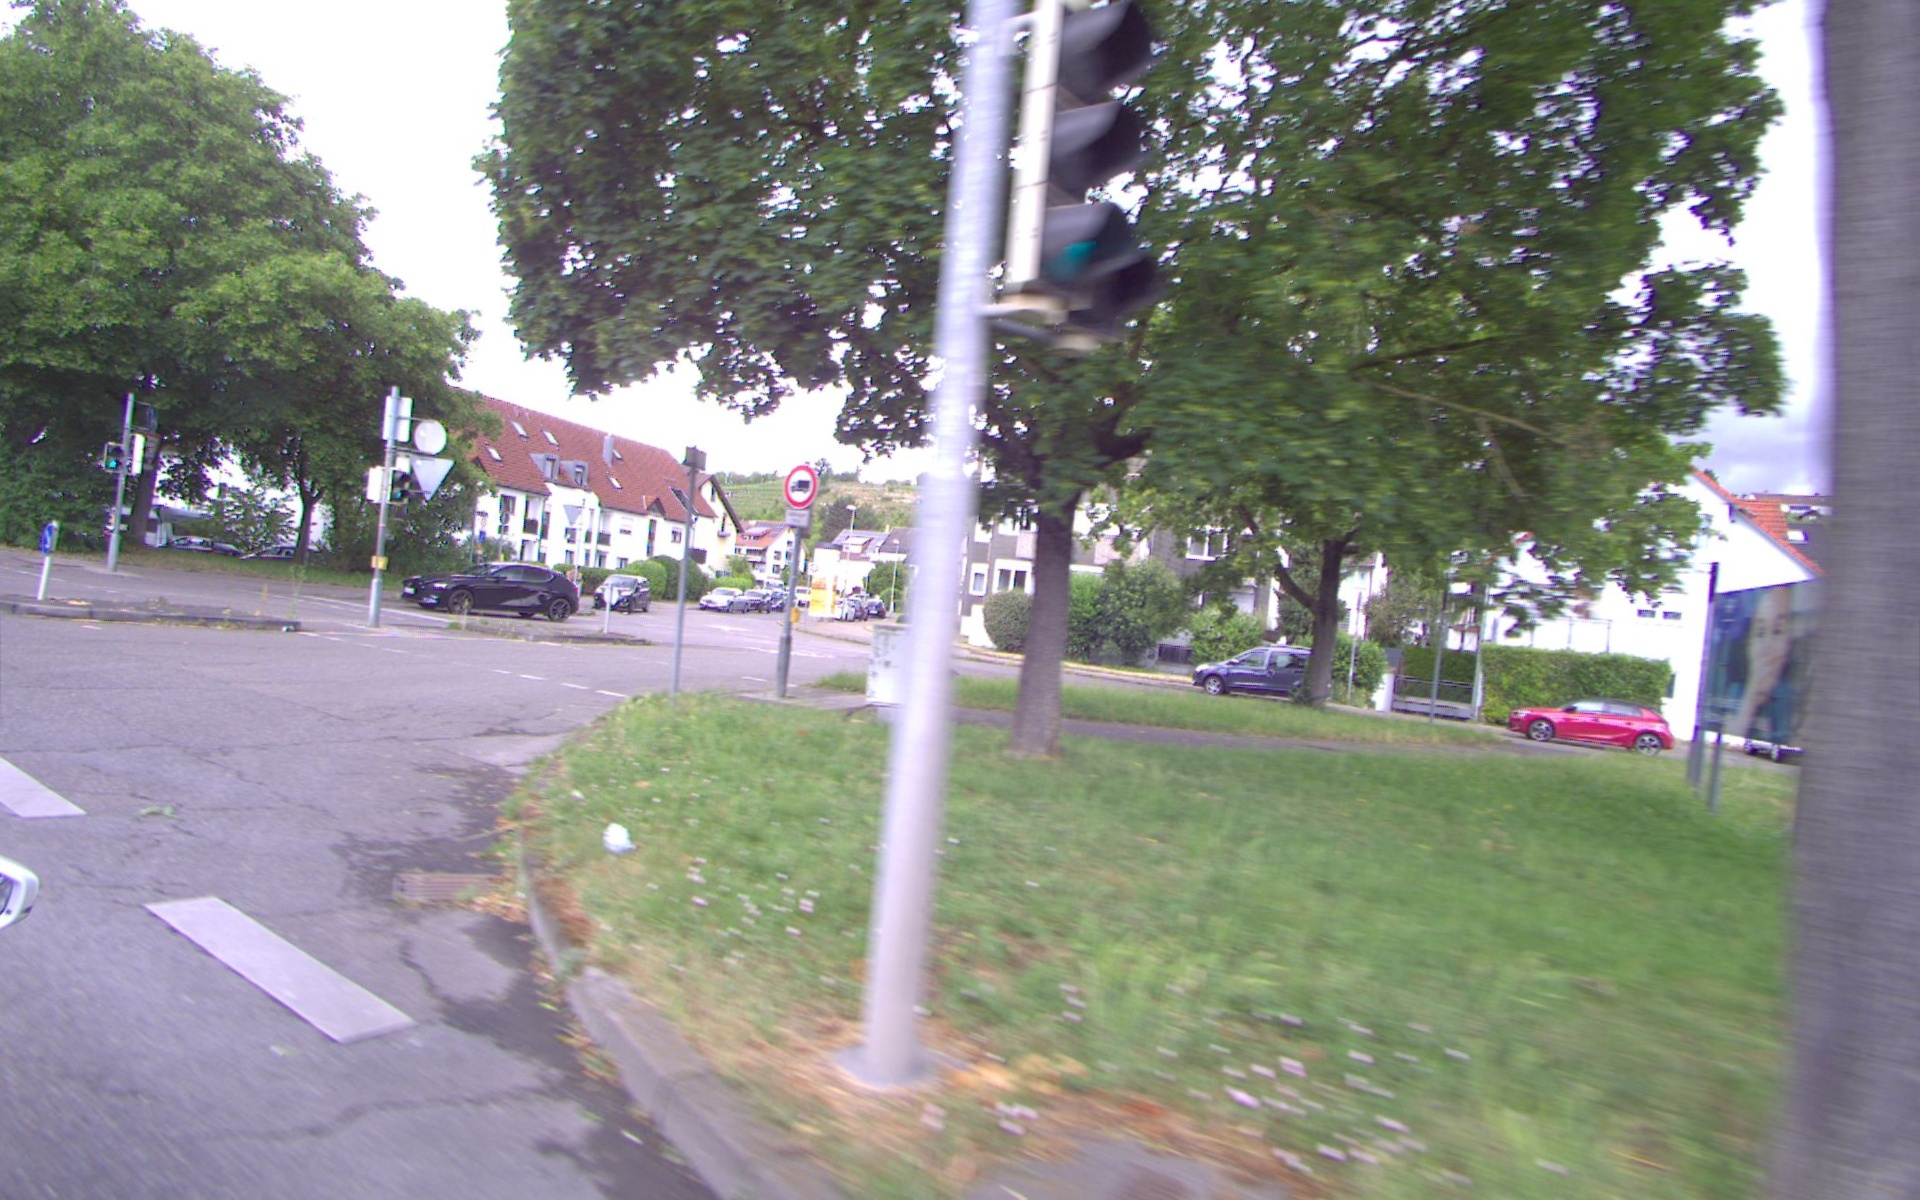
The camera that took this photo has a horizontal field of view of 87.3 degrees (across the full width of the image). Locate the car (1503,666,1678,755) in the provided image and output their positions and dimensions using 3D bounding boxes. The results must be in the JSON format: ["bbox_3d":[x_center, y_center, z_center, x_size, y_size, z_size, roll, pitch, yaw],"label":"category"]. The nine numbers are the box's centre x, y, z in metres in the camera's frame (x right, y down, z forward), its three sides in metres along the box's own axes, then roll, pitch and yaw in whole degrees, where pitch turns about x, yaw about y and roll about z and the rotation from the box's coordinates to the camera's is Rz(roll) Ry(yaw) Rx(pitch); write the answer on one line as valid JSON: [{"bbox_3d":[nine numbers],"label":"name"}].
[{"bbox_3d":[17.552,3.064,28.241,3.854,1.863,1.621,6,-2,27],"label":"car"}]

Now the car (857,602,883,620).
[{"bbox_3d":[-7.515,0.881,84.394,1.693,1.258,3.652,7,0,1],"label":"car"}]

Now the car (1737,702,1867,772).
[{"bbox_3d":[25.522,4.113,30.670,1.885,1.713,3.816,6,-3,24],"label":"car"}]

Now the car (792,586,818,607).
[{"bbox_3d":[-15.288,-0.372,99.558,1.964,1.774,4.466,7,-1,-4],"label":"car"}]

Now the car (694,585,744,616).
[{"bbox_3d":[-14.460,0.053,60.529,1.964,1.442,4.472,8,-3,-2],"label":"car"}]

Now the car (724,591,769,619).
[{"bbox_3d":[-14.214,0.375,67.221,1.963,1.442,4.473,8,-3,-1],"label":"car"}]

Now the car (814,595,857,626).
[{"bbox_3d":[-7.427,0.646,60.246,1.963,1.536,4.000,8,-1,-1],"label":"car"}]

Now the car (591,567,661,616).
[{"bbox_3d":[-15.029,-0.351,45.493,1.965,1.785,4.000,8,-3,-6],"label":"car"}]

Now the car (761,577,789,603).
[{"bbox_3d":[-17.749,-0.920,96.561,1.964,2.151,4.466,7,0,-4],"label":"car"}]

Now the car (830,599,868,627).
[{"bbox_3d":[-7.203,0.863,65.718,1.963,1.536,4.000,8,-1,-1],"label":"car"}]

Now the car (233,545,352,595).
[{"bbox_3d":[-27.805,-1.236,41.916,4.208,1.478,1.667,7,-2,17],"label":"car"}]

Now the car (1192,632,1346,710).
[{"bbox_3d":[9.821,2.254,32.017,4.330,1.863,1.723,6,-2,26],"label":"car"}]

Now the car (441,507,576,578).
[{"bbox_3d":[-16.703,-2.108,37.310,3.975,2.038,1.975,8,-1,-44],"label":"car"}]

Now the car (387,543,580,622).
[{"bbox_3d":[-12.258,-0.406,26.129,1.678,1.544,4.153,6,-1,35],"label":"car"}]

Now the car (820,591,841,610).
[{"bbox_3d":[-17.323,0.071,134.703,2.374,2.264,4.460,7,0,-10],"label":"car"}]

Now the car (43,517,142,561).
[{"bbox_3d":[-39.010,-2.754,45.240,3.768,1.401,1.485,7,-2,17],"label":"car"}]

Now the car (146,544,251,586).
[{"bbox_3d":[-33.093,-1.503,43.746,3.785,1.260,1.629,7,-2,17],"label":"car"}]
